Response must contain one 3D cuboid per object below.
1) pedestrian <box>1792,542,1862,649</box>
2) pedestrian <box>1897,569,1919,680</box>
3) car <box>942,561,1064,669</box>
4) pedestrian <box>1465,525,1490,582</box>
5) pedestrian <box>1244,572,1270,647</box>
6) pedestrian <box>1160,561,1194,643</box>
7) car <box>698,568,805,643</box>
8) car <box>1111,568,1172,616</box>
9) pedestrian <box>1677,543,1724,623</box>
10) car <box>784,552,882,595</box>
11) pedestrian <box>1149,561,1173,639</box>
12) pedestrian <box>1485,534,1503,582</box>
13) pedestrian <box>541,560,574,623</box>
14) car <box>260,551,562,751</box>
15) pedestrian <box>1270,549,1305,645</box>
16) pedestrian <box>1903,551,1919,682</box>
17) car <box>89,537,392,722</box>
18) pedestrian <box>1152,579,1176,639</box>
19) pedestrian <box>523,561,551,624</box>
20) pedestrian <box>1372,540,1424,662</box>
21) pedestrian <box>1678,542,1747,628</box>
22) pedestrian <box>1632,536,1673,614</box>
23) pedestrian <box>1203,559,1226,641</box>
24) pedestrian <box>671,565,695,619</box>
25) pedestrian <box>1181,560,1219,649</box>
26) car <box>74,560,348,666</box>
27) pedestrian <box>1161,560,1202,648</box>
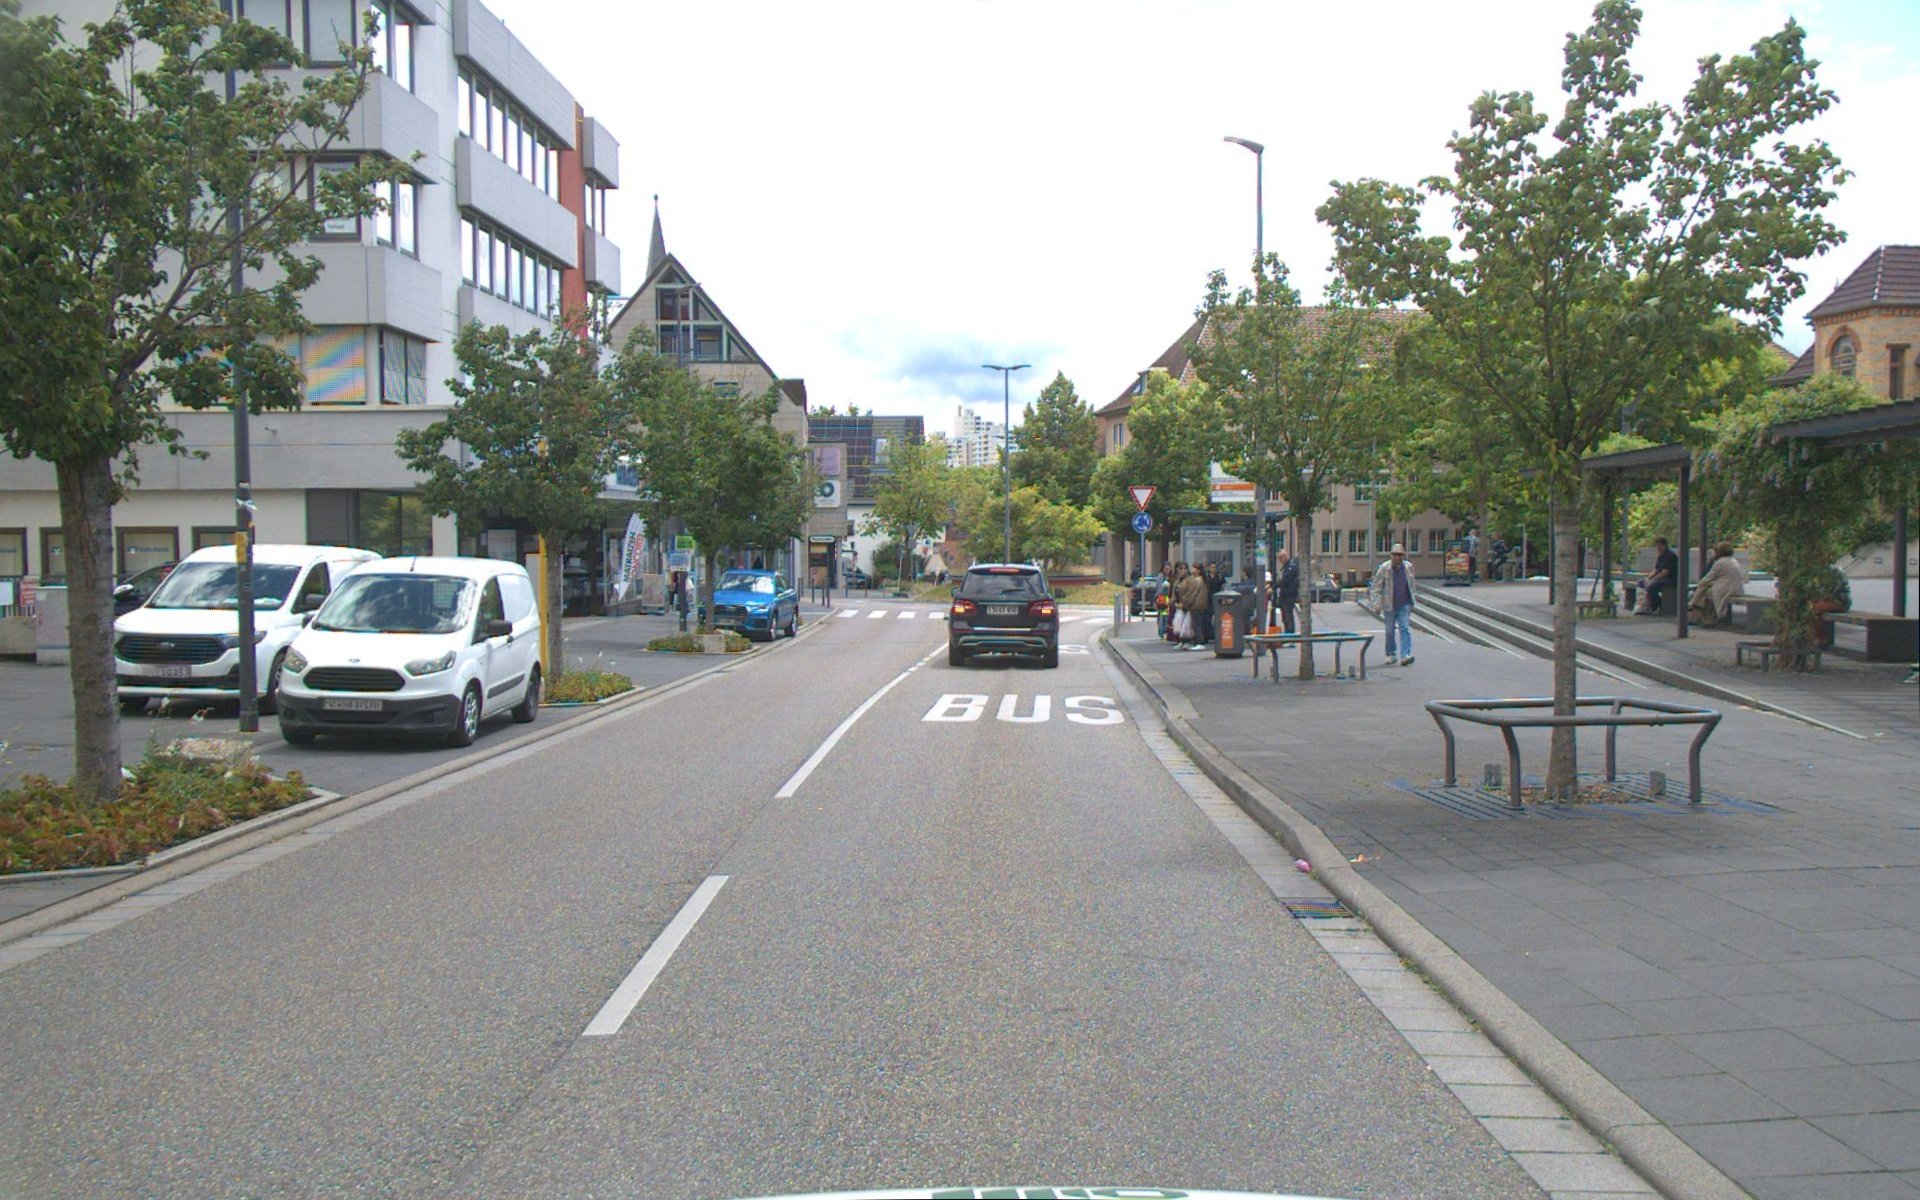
[{"bbox_3d":[10.999,-0.066,20.984,0.610,1.330,0.546,-1,1,6],"label":"pedestrian"},{"bbox_3d":[9.962,0.247,16.993,0.466,1.107,0.369,-1,3,6],"label":"pedestrian"},{"bbox_3d":[0.839,0.286,29.518,1.985,1.758,4.435,1,-1,3],"label":"car"},{"bbox_3d":[14.051,-1.252,44.926,0.494,1.534,0.453,-1,1,-13],"label":"pedestrian"},{"bbox_3d":[5.349,0.168,29.785,0.381,1.329,0.355,-2,1,4],"label":"pedestrian"},{"bbox_3d":[4.237,0.037,32.330,0.491,1.593,0.496,-1,1,-15],"label":"pedestrian"},{"bbox_3d":[-4.962,0.088,39.823,1.659,1.627,4.334,3,1,4],"label":"car"},{"bbox_3d":[6.667,-0.312,60.316,2.009,1.615,4.377,3,1,8],"label":"car"},{"bbox_3d":[11.709,-0.277,26.150,0.555,1.249,0.567,0,1,12],"label":"pedestrian"},{"bbox_3d":[-8.533,-1.773,111.204,6.190,2.605,2.194,2,-2,-19],"label":"car"},{"bbox_3d":[4.296,-0.007,35.357,0.379,1.648,0.469,-2,1,17],"label":"pedestrian"},{"bbox_3d":[14.631,-1.154,45.321,0.355,1.307,0.642,-1,1,7],"label":"pedestrian"},{"bbox_3d":[-10.261,-0.220,42.193,0.629,1.593,0.587,-1,1,5],"label":"pedestrian"},{"bbox_3d":[-5.260,0.420,16.452,1.623,1.701,4.350,1,1,-2],"label":"car"},{"bbox_3d":[5.874,-0.061,29.723,0.500,1.709,0.576,-1,1,2],"label":"pedestrian"},{"bbox_3d":[9.839,0.163,16.522,0.556,1.284,0.542,-1,3,6],"label":"pedestrian"},{"bbox_3d":[-8.107,0.278,19.110,1.721,1.845,4.474,1,1,-3],"label":"car"},{"bbox_3d":[4.294,0.191,34.772,0.394,1.247,0.388,-1,1,24],"label":"pedestrian"},{"bbox_3d":[-10.942,-0.204,42.800,0.499,1.593,0.587,-1,1,3],"label":"pedestrian"},{"bbox_3d":[6.251,0.017,23.619,0.670,1.711,0.715,-1,0,13],"label":"pedestrian"},{"bbox_3d":[11.453,-0.233,25.164,0.671,1.291,0.759,0,1,-43],"label":"pedestrian"},{"bbox_3d":[12.148,-0.436,29.036,0.555,1.346,0.546,0,1,12],"label":"pedestrian"},{"bbox_3d":[4.977,0.002,32.373,0.385,1.593,0.352,-1,1,6],"label":"pedestrian"},{"bbox_3d":[-8.337,-0.251,49.778,0.574,1.616,0.639,1,1,3],"label":"pedestrian"},{"bbox_3d":[4.307,0.081,29.672,0.503,1.576,0.487,-1,1,28],"label":"pedestrian"},{"bbox_3d":[-11.757,0.194,26.137,3.556,1.585,1.667,0,0,-5],"label":"car"},{"bbox_3d":[4.034,0.070,30.107,0.483,1.576,0.535,-2,1,-44],"label":"pedestrian"}]
